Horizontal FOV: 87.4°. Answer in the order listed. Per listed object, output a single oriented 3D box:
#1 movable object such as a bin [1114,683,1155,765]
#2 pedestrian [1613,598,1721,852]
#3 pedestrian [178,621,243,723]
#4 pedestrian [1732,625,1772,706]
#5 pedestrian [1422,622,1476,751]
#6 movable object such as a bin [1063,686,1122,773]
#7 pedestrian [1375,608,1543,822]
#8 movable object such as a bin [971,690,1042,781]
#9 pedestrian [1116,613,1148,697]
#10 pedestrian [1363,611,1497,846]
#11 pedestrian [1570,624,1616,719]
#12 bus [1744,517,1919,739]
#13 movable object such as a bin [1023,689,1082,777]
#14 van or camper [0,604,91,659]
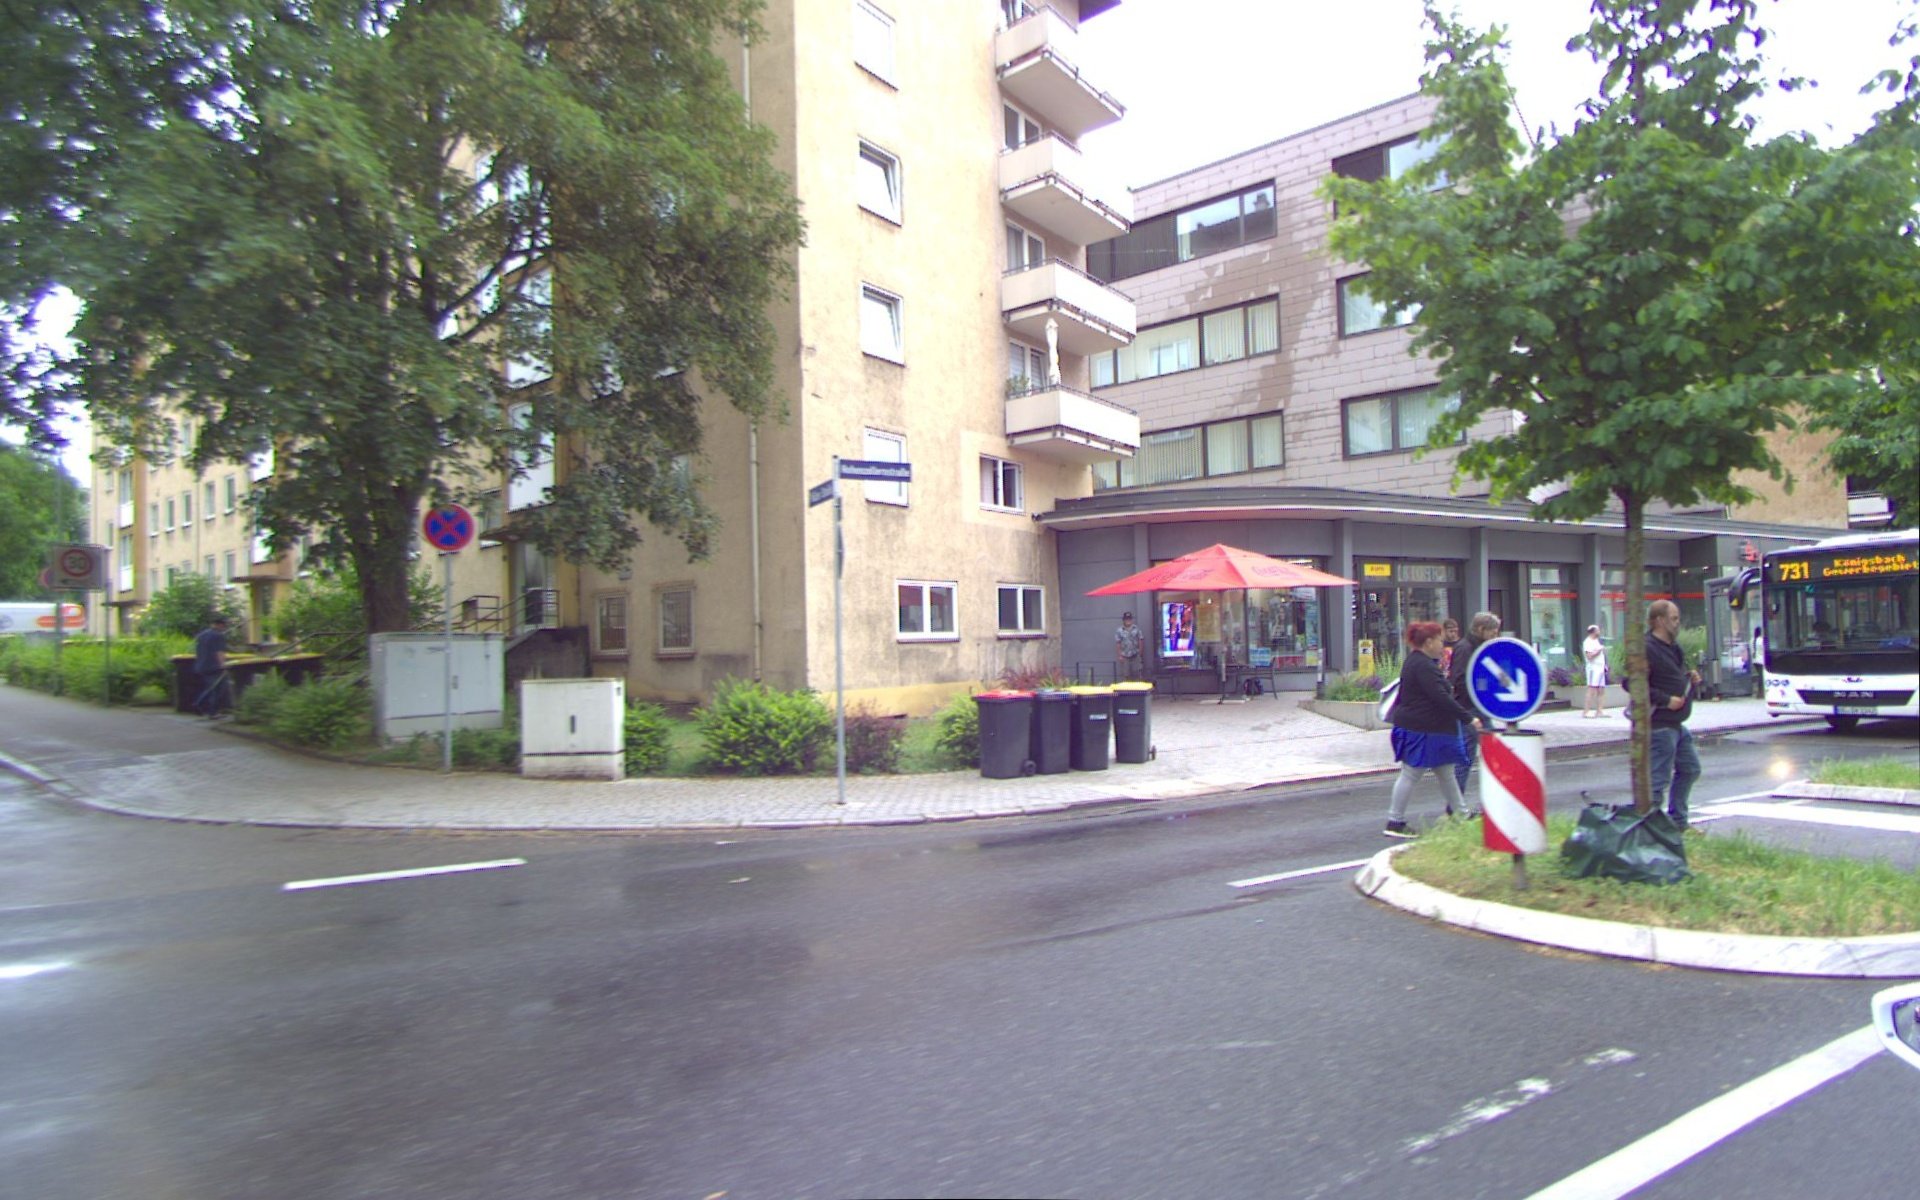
[{"bbox_3d":[2.390,1.687,13.788,0.530,1.085,0.472,0,-4,8],"label":"movable object such as a bin"},{"bbox_3d":[5.089,0.880,7.231,0.459,1.730,0.542,-6,-6,41],"label":"pedestrian"},{"bbox_3d":[-13.226,1.246,17.728,0.618,1.705,0.814,2,2,41],"label":"pedestrian"},{"bbox_3d":[17.457,1.441,22.136,0.462,1.732,0.539,3,-1,-35],"label":"pedestrian"},{"bbox_3d":[7.214,1.259,14.814,0.462,1.814,0.539,-5,4,-37],"label":"pedestrian"},{"bbox_3d":[1.749,1.695,13.242,0.599,1.095,0.488,3,-4,-28],"label":"movable object such as a bin"},{"bbox_3d":[4.398,0.983,8.893,0.708,1.754,1.054,1,-4,-38],"label":"pedestrian"},{"bbox_3d":[0.584,1.688,12.665,0.722,1.095,0.551,3,-4,-28],"label":"movable object such as a bin"},{"bbox_3d":[3.828,1.226,22.384,0.622,1.840,0.638,-1,-2,6],"label":"pedestrian"},{"bbox_3d":[3.707,0.983,7.923,0.731,1.731,0.677,-4,-5,41],"label":"pedestrian"},{"bbox_3d":[11.945,1.332,18.954,0.649,1.728,0.660,2,-1,36],"label":"pedestrian"},{"bbox_3d":[18.746,0.663,18.418,11.817,3.243,2.668,3,-1,-30],"label":"bus"},{"bbox_3d":[1.191,1.699,12.957,0.599,1.095,0.488,3,-4,-28],"label":"movable object such as a bin"},{"bbox_3d":[-48.716,1.585,51.134,2.250,2.668,6.347,2,-1,30],"label":"van or camper"}]
